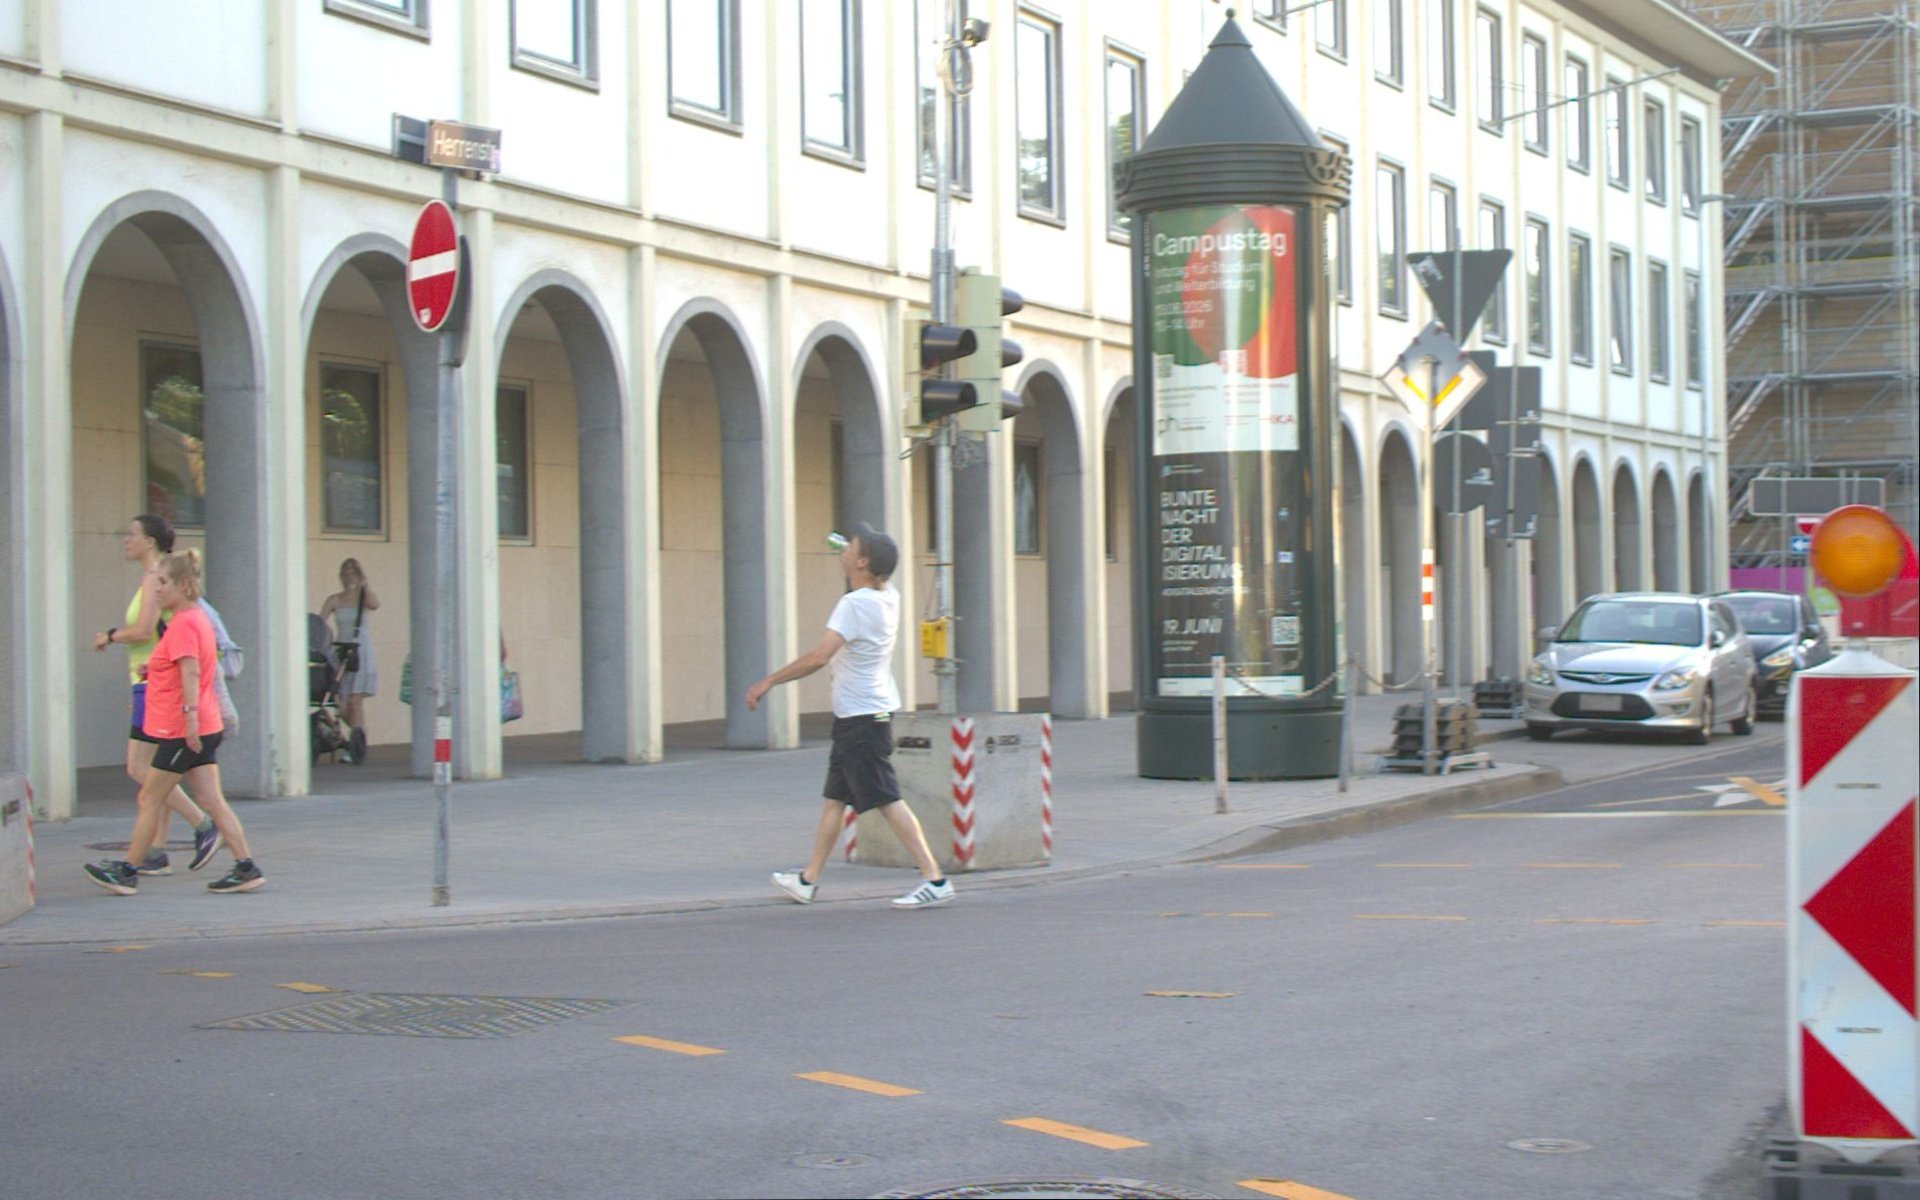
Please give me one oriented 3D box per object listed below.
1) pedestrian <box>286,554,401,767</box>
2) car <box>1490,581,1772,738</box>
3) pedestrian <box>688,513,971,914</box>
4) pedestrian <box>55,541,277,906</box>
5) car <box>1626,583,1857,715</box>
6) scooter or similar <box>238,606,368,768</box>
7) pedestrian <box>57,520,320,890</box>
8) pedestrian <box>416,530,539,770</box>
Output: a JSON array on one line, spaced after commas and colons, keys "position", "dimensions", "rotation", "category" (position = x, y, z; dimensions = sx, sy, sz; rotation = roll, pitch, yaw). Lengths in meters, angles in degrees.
[{"position": [-4.844, 0.467, 27.044], "dimensions": [0.618, 1.618, 0.727], "rotation": [-1, 3, 12], "category": "pedestrian"}, {"position": [6.823, 0.594, 34.640], "dimensions": [1.927, 1.461, 3.995], "rotation": [1, -1, 24], "category": "car"}, {"position": [-0.577, 0.504, 15.372], "dimensions": [0.975, 1.723, 0.797], "rotation": [-2, -1, 20], "category": "pedestrian"}, {"position": [-3.649, 0.554, 15.835], "dimensions": [0.725, 1.618, 0.619], "rotation": [0, 3, 20], "category": "pedestrian"}, {"position": [9.316, 0.585, 40.765], "dimensions": [1.927, 1.461, 3.995], "rotation": [1, -1, 24], "category": "car"}, {"position": [-5.003, 0.656, 26.215], "dimensions": [0.618, 1.153, 0.958], "rotation": [-1, 3, 12], "category": "scooter or similar"}, {"position": [-3.691, 0.488, 16.484], "dimensions": [0.966, 1.704, 0.675], "rotation": [0, 3, 20], "category": "pedestrian"}, {"position": [-3.792, 0.382, 27.061], "dimensions": [0.641, 1.834, 0.726], "rotation": [0, 3, 19], "category": "pedestrian"}]
